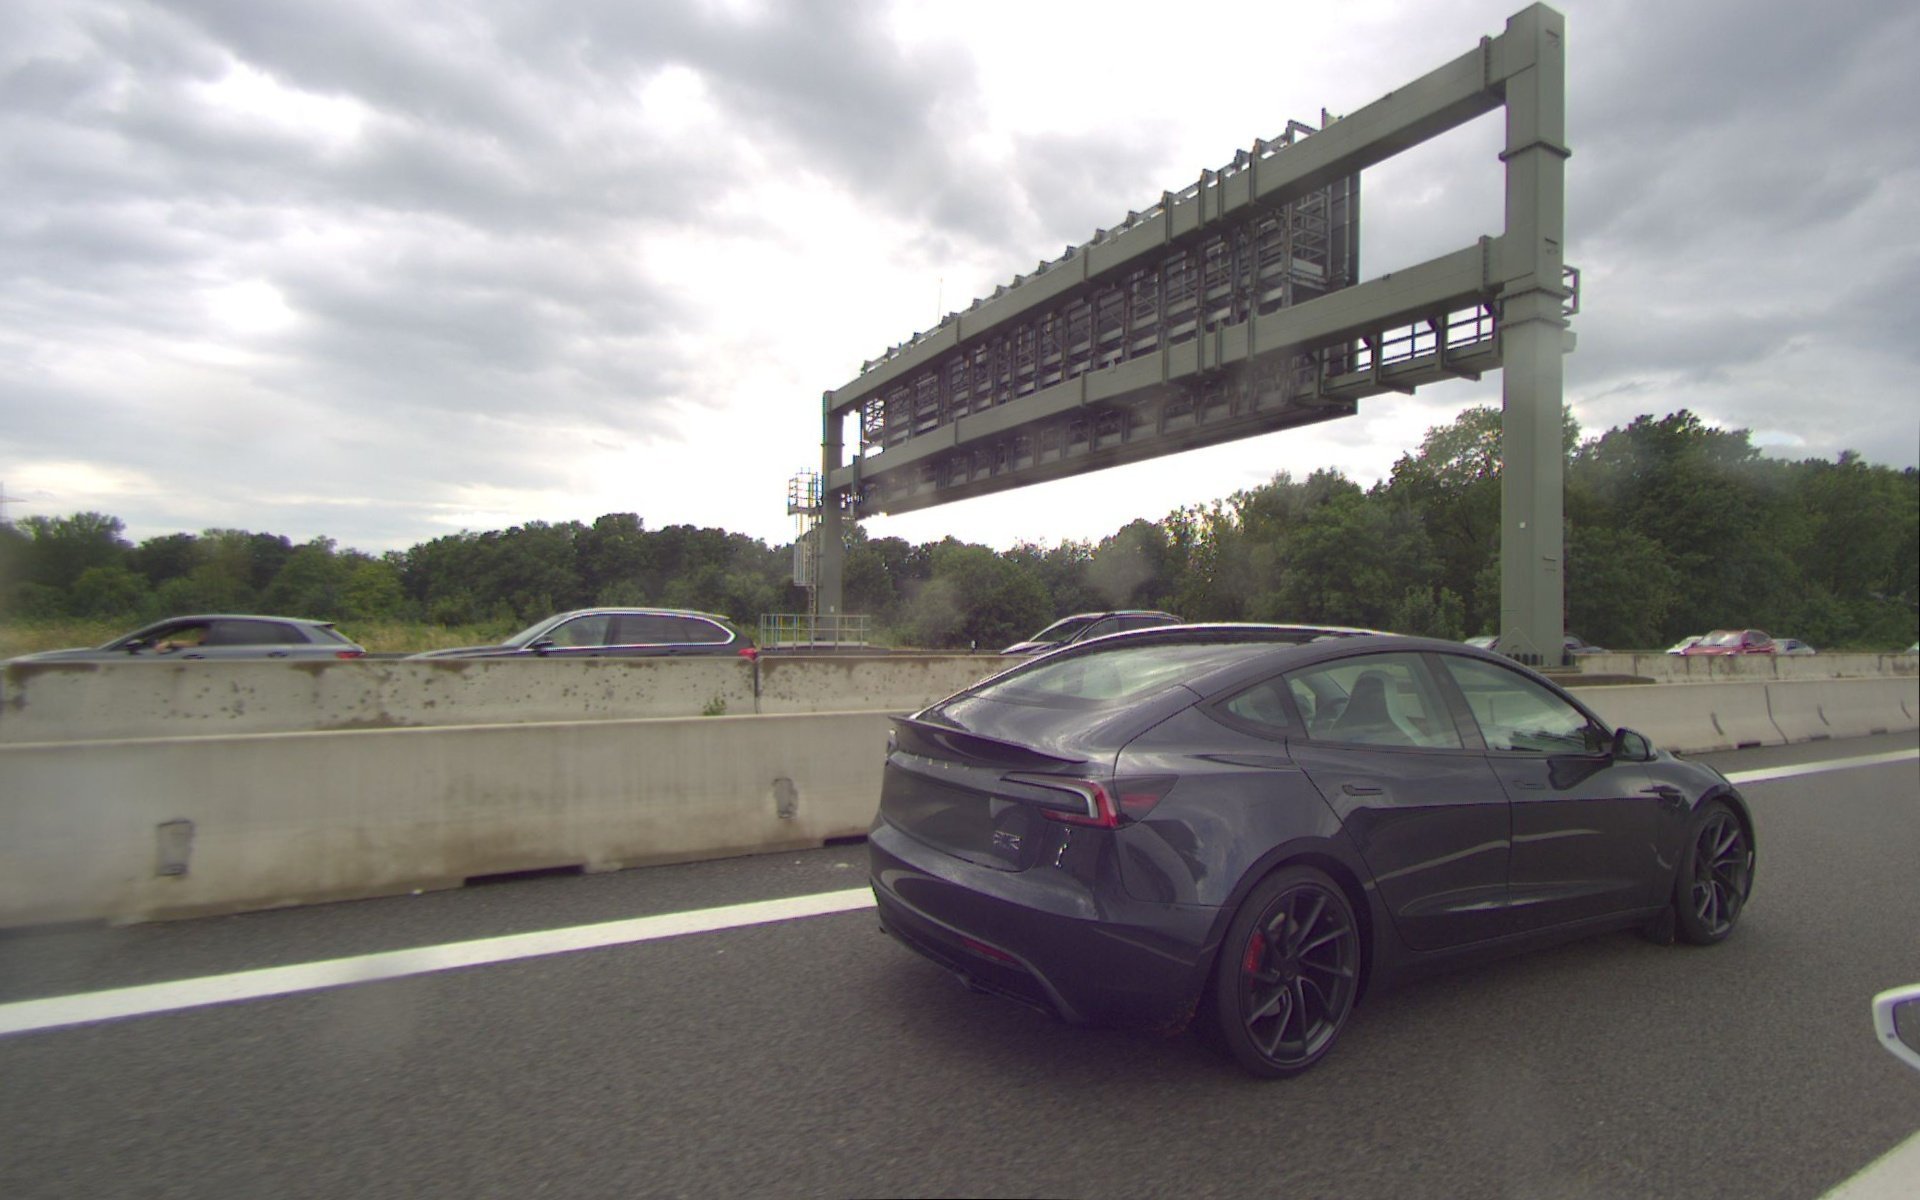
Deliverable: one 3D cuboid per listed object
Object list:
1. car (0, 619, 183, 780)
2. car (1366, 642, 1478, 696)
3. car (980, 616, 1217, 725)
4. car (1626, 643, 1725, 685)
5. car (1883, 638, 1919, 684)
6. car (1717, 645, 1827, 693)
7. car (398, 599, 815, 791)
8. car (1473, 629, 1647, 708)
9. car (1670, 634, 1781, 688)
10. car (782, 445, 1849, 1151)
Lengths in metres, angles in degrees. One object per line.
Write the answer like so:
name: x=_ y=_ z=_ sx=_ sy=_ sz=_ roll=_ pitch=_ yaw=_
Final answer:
car: x=-12.863 y=1.201 z=12.560 sx=4.704 sy=1.898 sz=1.984 roll=1 pitch=0 yaw=-30
car: x=18.871 y=2.771 z=40.957 sx=4.507 sy=2.040 sz=1.899 roll=1 pitch=0 yaw=-30
car: x=2.944 y=1.412 z=21.109 sx=4.704 sy=2.040 sz=1.984 roll=1 pitch=0 yaw=-30
car: x=36.981 y=3.248 z=51.891 sx=5.163 sy=1.978 sz=2.232 roll=1 pitch=0 yaw=-30
car: x=45.662 y=2.852 z=47.234 sx=4.708 sy=2.040 sz=1.984 roll=1 pitch=0 yaw=-30
car: x=37.334 y=3.118 z=46.155 sx=5.163 sy=1.978 sz=2.232 roll=1 pitch=0 yaw=-30
car: x=-4.417 y=1.060 z=12.740 sx=4.704 sy=2.040 sz=1.984 roll=1 pitch=0 yaw=-30
car: x=13.764 y=1.524 z=23.008 sx=3.953 sy=1.617 sz=1.721 roll=1 pitch=0 yaw=-30
car: x=27.560 y=2.160 z=36.136 sx=4.286 sy=1.768 sz=1.670 roll=1 pitch=0 yaw=-30
car: x=1.931 y=0.574 z=4.792 sx=5.102 sy=1.845 sz=1.984 roll=2 pitch=0 yaw=-31
